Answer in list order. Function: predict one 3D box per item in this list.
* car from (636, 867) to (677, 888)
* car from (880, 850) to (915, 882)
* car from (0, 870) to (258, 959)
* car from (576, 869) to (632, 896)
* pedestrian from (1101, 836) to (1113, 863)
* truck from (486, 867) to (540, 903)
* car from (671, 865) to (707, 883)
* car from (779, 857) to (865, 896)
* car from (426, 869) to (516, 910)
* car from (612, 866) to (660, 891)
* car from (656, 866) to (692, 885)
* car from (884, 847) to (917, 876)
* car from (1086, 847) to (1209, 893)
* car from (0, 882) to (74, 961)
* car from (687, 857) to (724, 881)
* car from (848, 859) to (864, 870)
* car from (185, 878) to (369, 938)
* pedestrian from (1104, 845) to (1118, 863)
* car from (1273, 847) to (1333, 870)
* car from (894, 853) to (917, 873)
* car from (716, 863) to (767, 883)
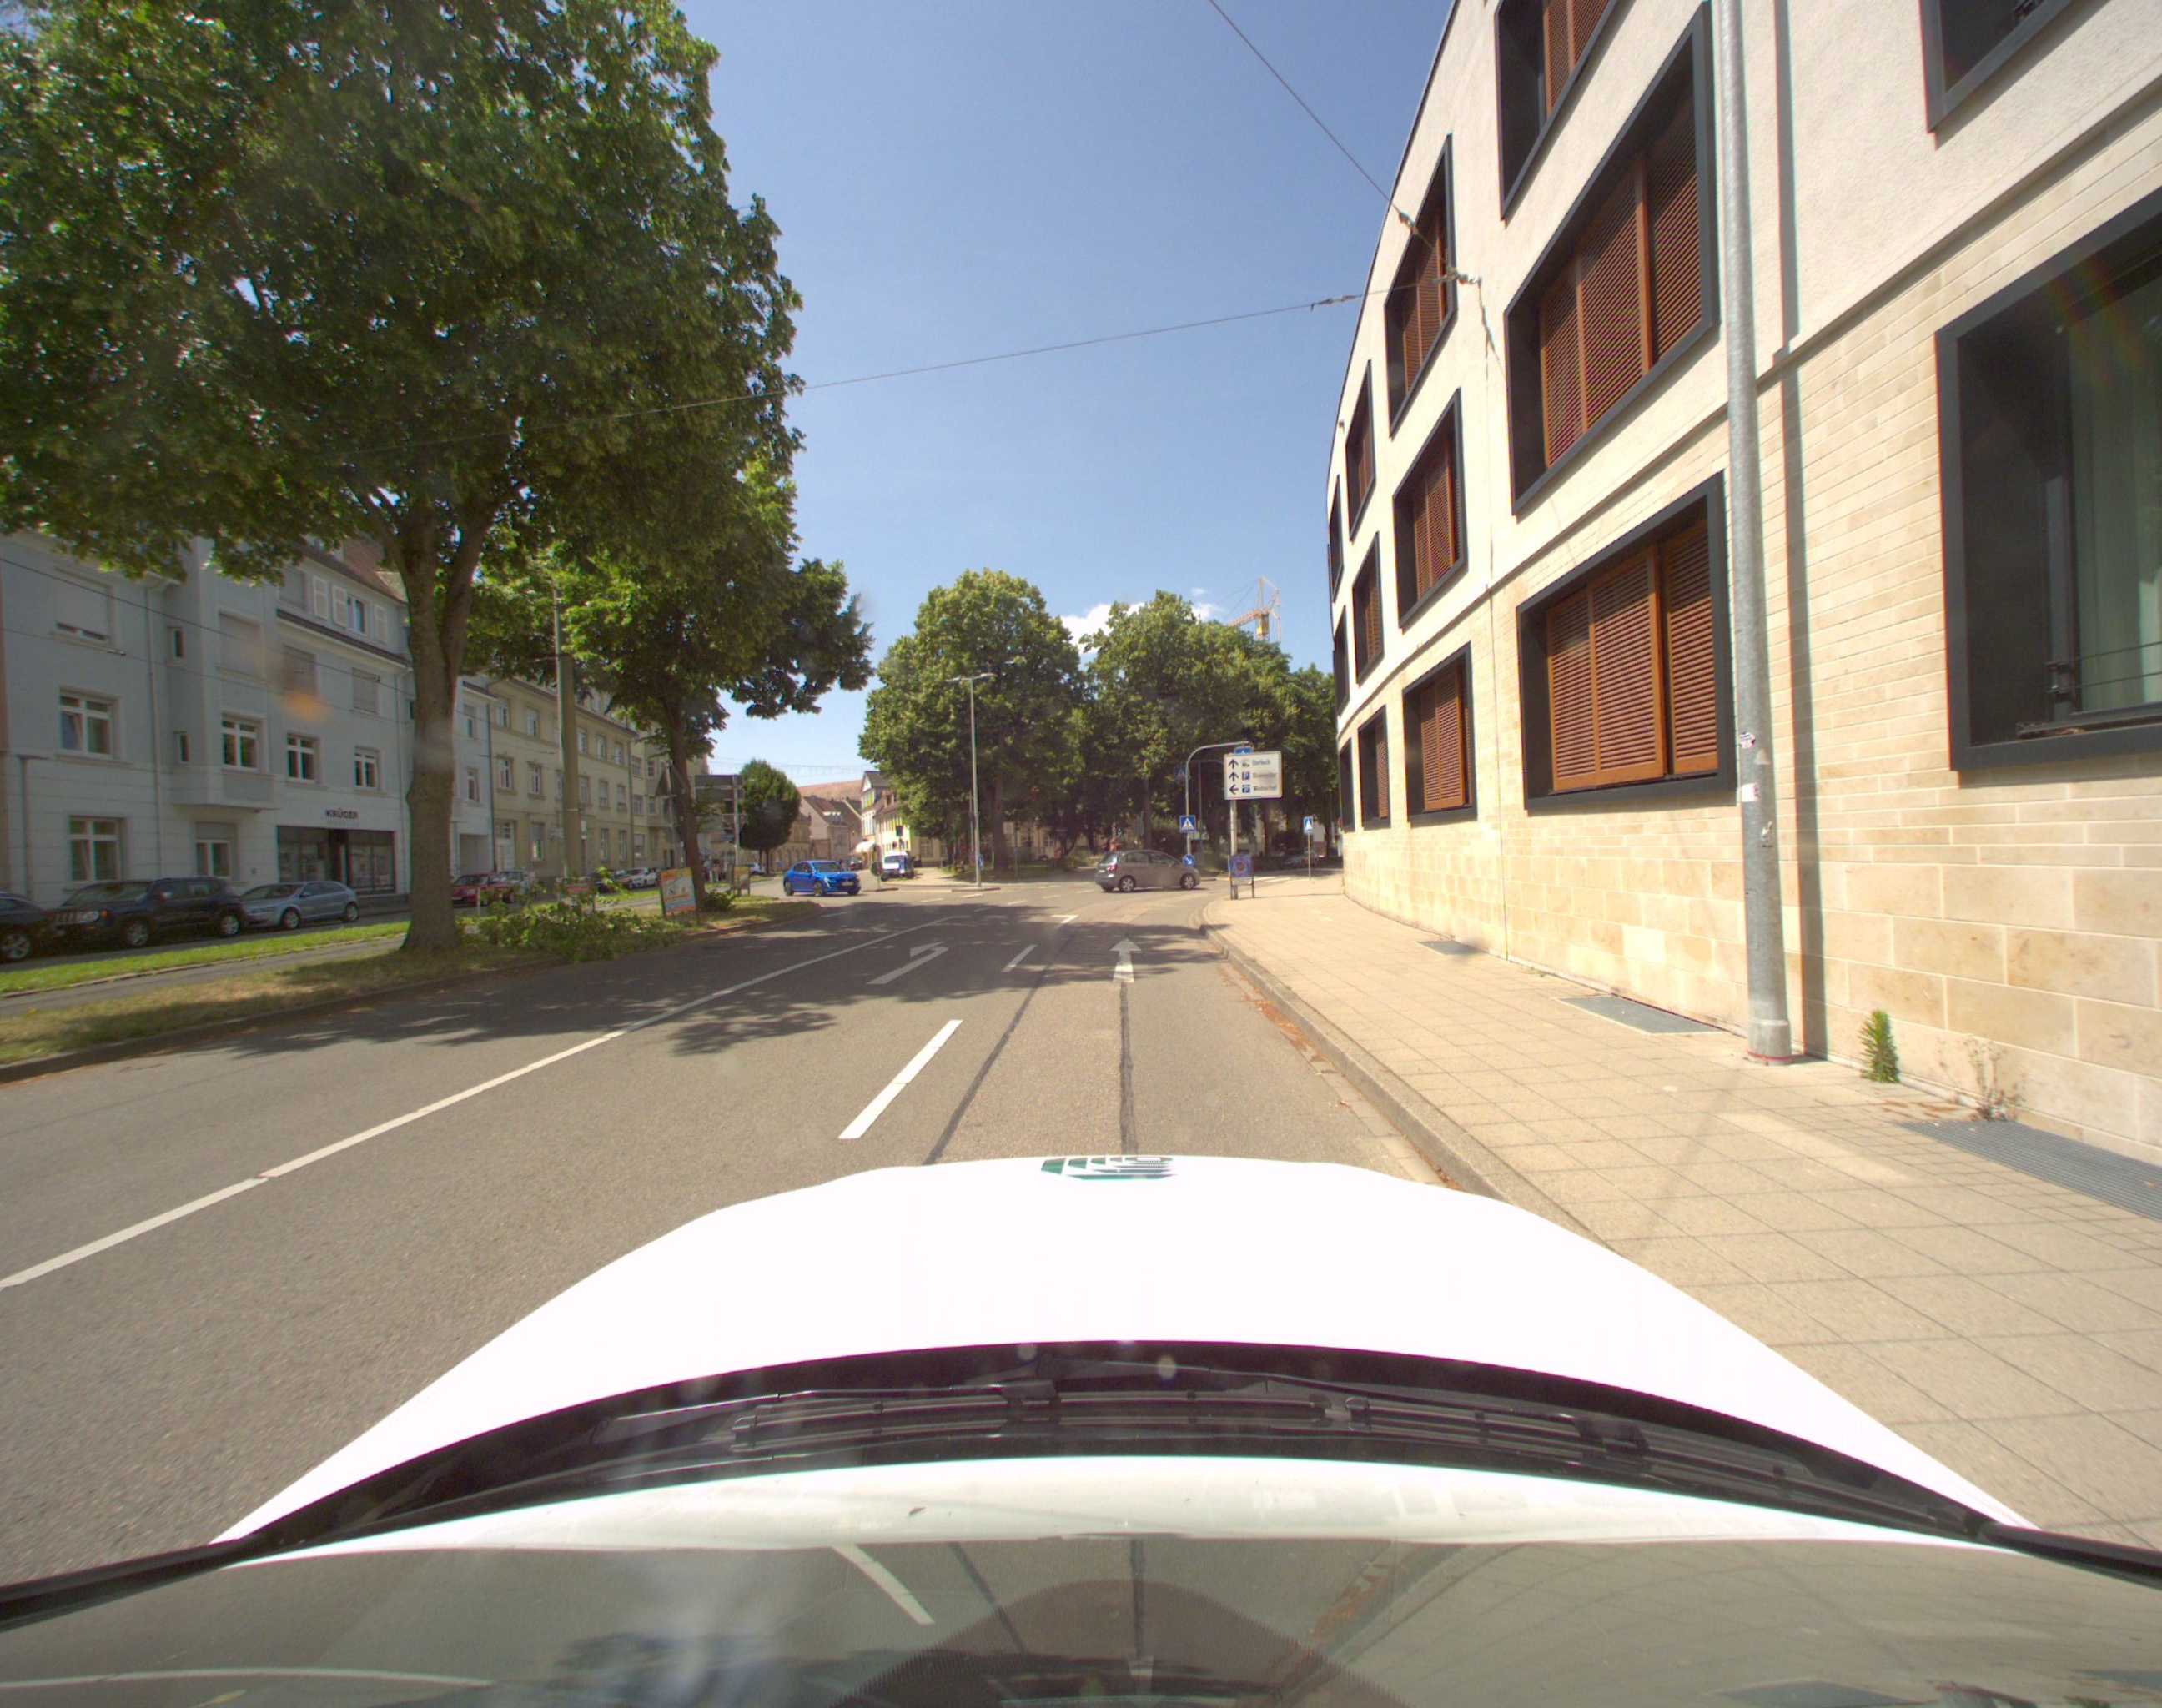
[{"bbox_3d":[-31.021,1.686,59.595,1.688,1.277,3.275,-4,1,-12],"label":"car"},{"bbox_3d":[-11.405,0.728,50.718,1.995,1.826,4.404,-2,0,-12],"label":"car"},{"bbox_3d":[-22.759,1.349,19.771,1.838,1.685,4.125,-4,1,-12],"label":"car"},{"bbox_3d":[-28.867,1.677,49.422,1.688,1.360,3.842,-4,1,-12],"label":"car"},{"bbox_3d":[1.921,-0.353,60.009,0.744,1.910,0.685,-2,2,3],"label":"pedestrian"},{"bbox_3d":[-26.942,1.447,38.710,1.127,1.494,2.583,-4,1,-13],"label":"truck"},{"bbox_3d":[-32.851,1.669,68.392,1.643,1.277,4.247,-4,1,-12],"label":"car"},{"bbox_3d":[-10.666,0.893,33.437,1.826,1.492,3.951,-1,0,-43],"label":"car"},{"bbox_3d":[-25.870,1.452,34.672,1.572,1.451,3.611,-4,1,-12],"label":"car"},{"bbox_3d":[-29.946,1.612,54.868,1.688,1.390,3.842,-4,1,-12],"label":"car"},{"bbox_3d":[-32.001,1.706,64.157,1.603,1.277,3.572,-4,1,-12],"label":"car"},{"bbox_3d":[-13.097,0.517,59.301,2.050,2.002,5.230,-2,0,-10],"label":"car"},{"bbox_3d":[2.511,0.582,30.966,4.248,1.534,1.895,-2,0,-23],"label":"car"},{"bbox_3d":[-21.578,1.395,14.448,1.929,1.490,4.843,-4,1,-12],"label":"car"},{"bbox_3d":[-33.793,1.336,73.327,1.855,1.911,4.752,-4,1,-12],"label":"car"},{"bbox_3d":[-31.396,1.457,113.477,1.866,1.486,3.975,-2,0,-18],"label":"car"},{"bbox_3d":[-23.715,1.513,24.277,1.809,1.356,4.233,-4,1,-12],"label":"car"},{"bbox_3d":[2.181,0.014,59.053,0.902,1.252,1.149,-2,2,3],"label":"pedestrian"},{"bbox_3d":[15.808,0.329,57.795,4.428,1.488,1.724,-2,0,-37],"label":"car"},{"bbox_3d":[-15.765,0.763,73.277,1.784,1.693,4.185,-2,0,-10],"label":"car"},{"bbox_3d":[-33.016,1.840,79.270,4.212,1.504,1.993,-5,1,-16],"label":"car"}]
